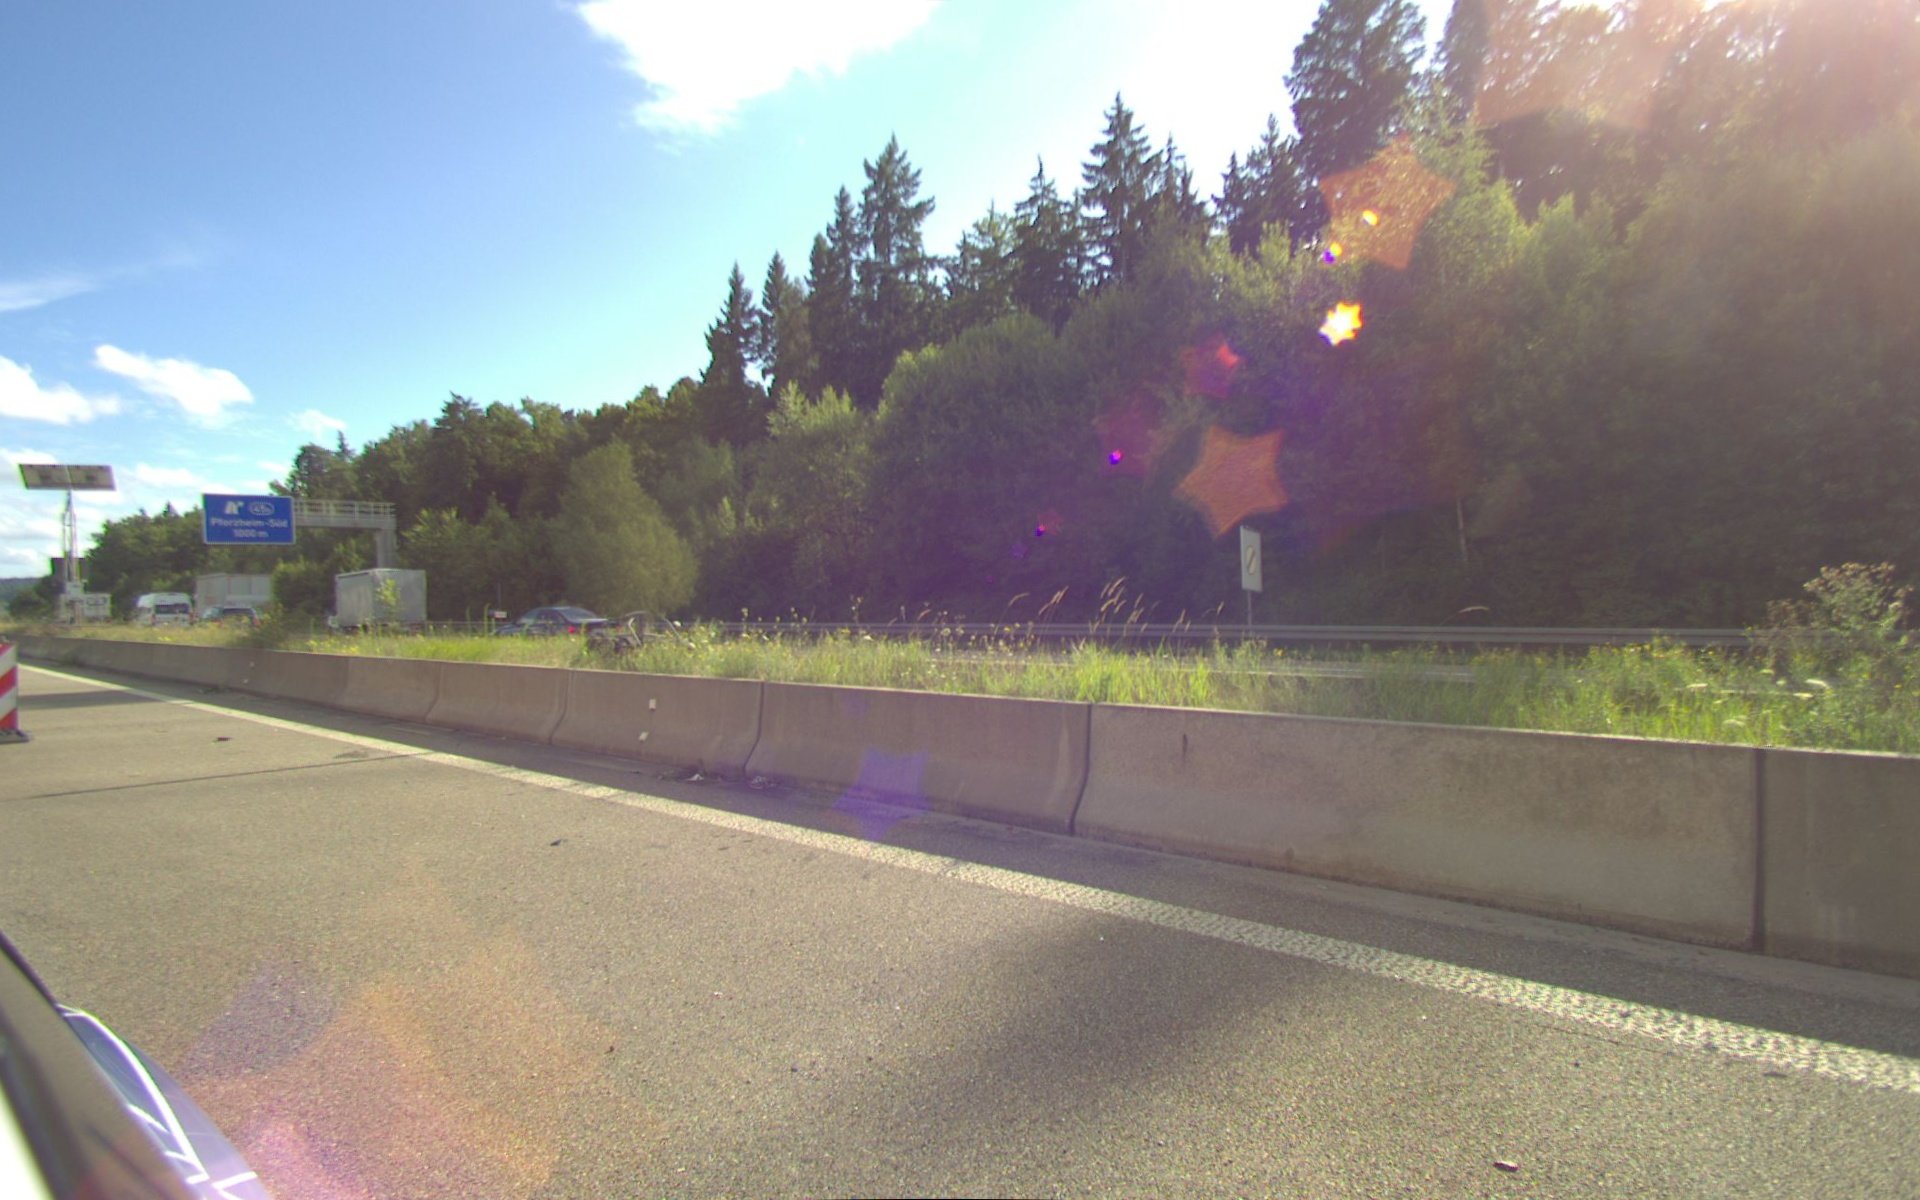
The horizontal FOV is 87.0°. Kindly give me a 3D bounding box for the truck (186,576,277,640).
[{"bbox_3d":[-49.220,0.576,68.203,10.181,4.022,2.771,-1,-1,41],"label":"truck"}]

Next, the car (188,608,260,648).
[{"bbox_3d":[-35.104,1.293,48.244,4.117,1.826,1.924,-1,0,41],"label":"car"}]

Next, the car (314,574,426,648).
[{"bbox_3d":[-29.226,0.539,49.968,7.448,3.395,2.461,-1,0,41],"label":"car"}]

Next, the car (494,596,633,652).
[{"bbox_3d":[-10.862,0.607,27.567,4.309,1.398,1.760,-1,0,42],"label":"car"}]

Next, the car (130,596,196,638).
[{"bbox_3d":[-49.534,1.056,62.857,6.329,2.470,2.138,-1,0,41],"label":"car"}]

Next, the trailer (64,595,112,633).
[{"bbox_3d":[-94.381,1.518,109.469,8.484,3.953,2.762,-1,0,41],"label":"trailer"}]
